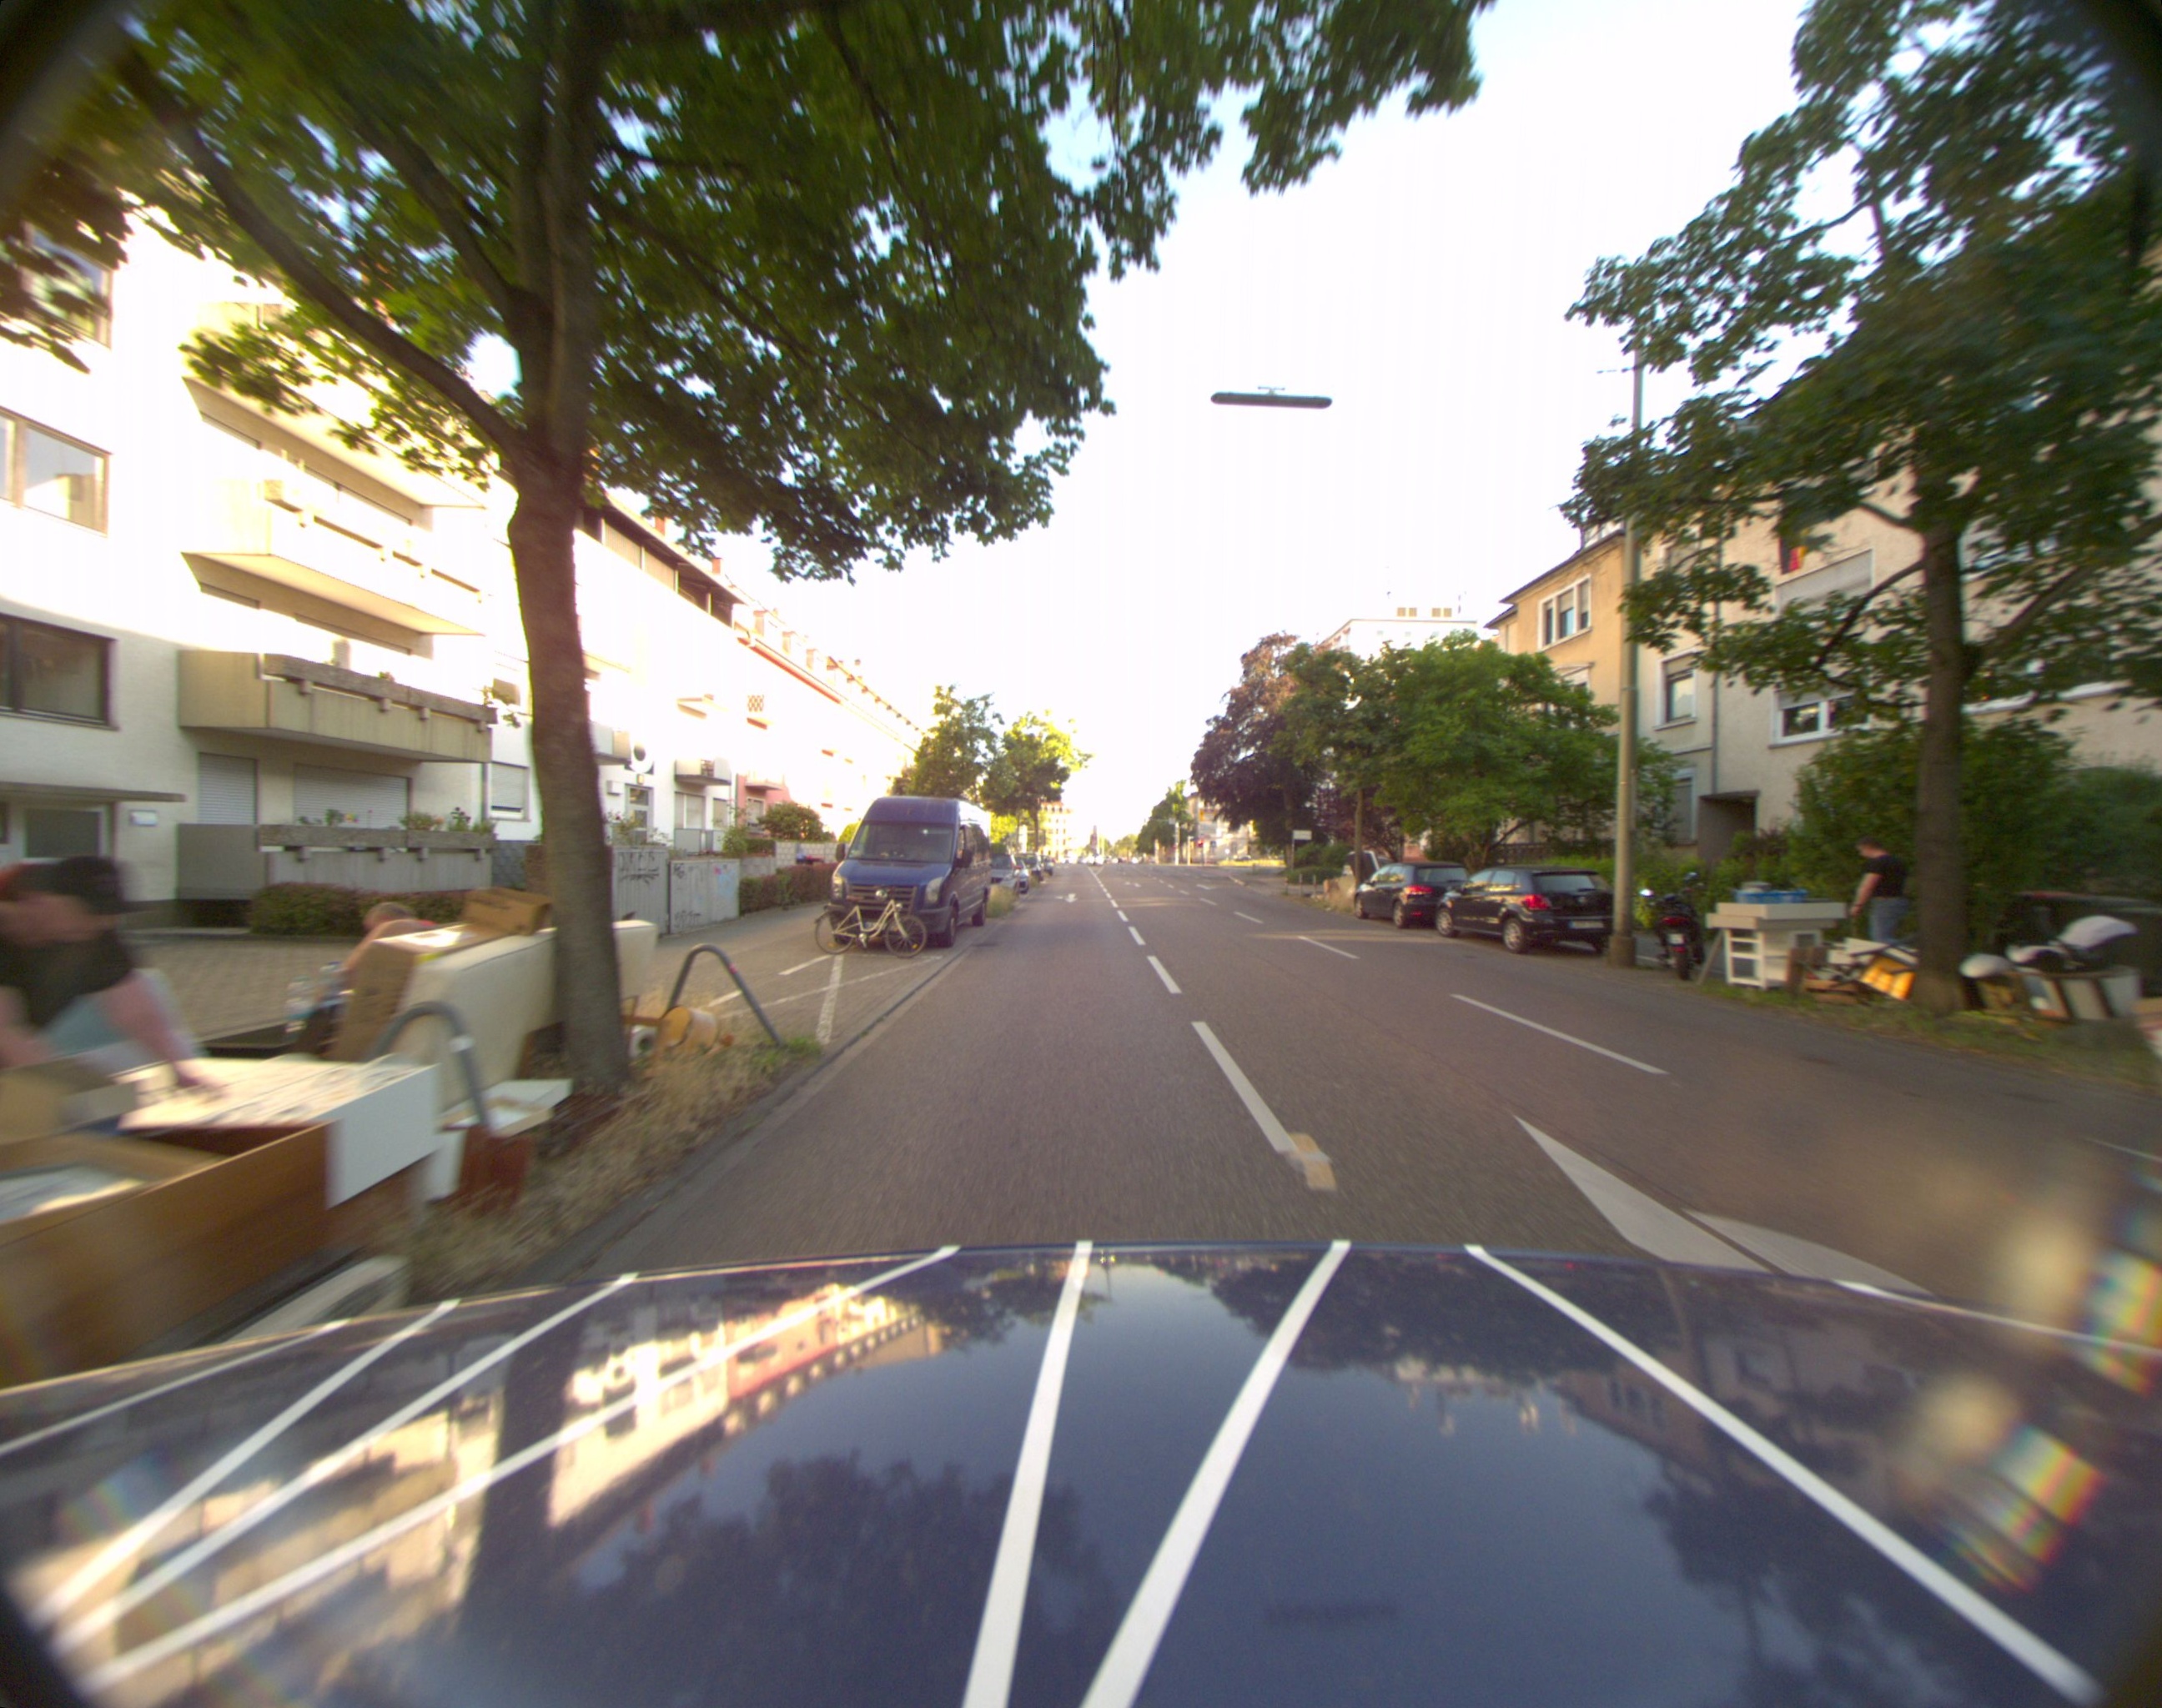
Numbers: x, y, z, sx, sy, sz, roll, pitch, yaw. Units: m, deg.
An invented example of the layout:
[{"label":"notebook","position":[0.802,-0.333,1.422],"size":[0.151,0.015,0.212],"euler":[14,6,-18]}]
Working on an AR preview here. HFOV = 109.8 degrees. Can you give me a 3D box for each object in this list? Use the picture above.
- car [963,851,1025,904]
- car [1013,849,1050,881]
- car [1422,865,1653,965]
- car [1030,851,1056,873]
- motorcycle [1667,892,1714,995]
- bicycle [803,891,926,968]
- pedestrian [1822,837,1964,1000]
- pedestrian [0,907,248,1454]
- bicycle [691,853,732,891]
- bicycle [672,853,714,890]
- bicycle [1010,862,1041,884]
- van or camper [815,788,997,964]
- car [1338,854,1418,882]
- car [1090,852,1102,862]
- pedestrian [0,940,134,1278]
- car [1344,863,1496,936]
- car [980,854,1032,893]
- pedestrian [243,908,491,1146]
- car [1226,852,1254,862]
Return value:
[{"label":"car","position":[-2.904,0.752,25.915],"size":[1.777,1.633,3.756],"euler":[0,1,-2]},{"label":"car","position":[-2.633,0.582,41.222],"size":[1.737,1.641,4.291],"euler":[0,0,0]},{"label":"car","position":[7.908,0.962,13.660],"size":[1.755,1.494,3.978],"euler":[0,0,0]},{"label":"car","position":[-2.729,0.579,55.079],"size":[1.737,1.542,3.646],"euler":[0,0,0]},{"label":"motorcycle","position":[8.032,1.132,10.043],"size":[0.440,1.185,1.711],"euler":[1,0,38]},{"label":"bicycle","position":[-3.187,1.099,11.232],"size":[1.705,1.083,0.404],"euler":[0,0,3]},{"label":"pedestrian","position":[10.443,0.796,9.810],"size":[0.769,2.002,0.976],"euler":[0,0,-1]},{"label":"pedestrian","position":[-3.302,0.913,2.219],"size":[1.066,1.467,0.478],"euler":[0,0,-19]},{"label":"bicycle","position":[-11.097,0.528,22.891],"size":[0.493,1.083,1.544],"euler":[0,0,0]},{"label":"bicycle","position":[-11.699,0.526,22.949],"size":[0.493,1.083,1.544],"euler":[0,0,0]},{"label":"bicycle","position":[-2.733,0.933,37.306],"size":[1.482,1.053,0.411],"euler":[0,0,-13]},{"label":"van or camper","position":[-2.990,0.301,14.543],"size":[2.073,2.660,5.988],"euler":[0,1,0]},{"label":"car","position":[15.615,0.724,40.058],"size":[3.507,1.477,1.815],"euler":[0,0,-4]},{"label":"car","position":[2.295,0.459,114.554],"size":[1.764,1.489,3.708],"euler":[0,0,0]},{"label":"pedestrian","position":[-4.595,1.020,3.105],"size":[0.656,1.247,0.656],"euler":[0,0,-19]},{"label":"car","position":[7.851,0.974,18.073],"size":[1.755,1.494,4.196],"euler":[0,0,0]},{"label":"car","position":[-2.966,0.748,30.953],"size":[1.925,1.477,4.744],"euler":[0,0,-3]},{"label":"pedestrian","position":[-4.163,0.965,4.492],"size":[0.799,1.247,0.700],"euler":[0,0,-2]},{"label":"car","position":[23.734,0.422,113.466],"size":[3.646,1.437,1.999],"euler":[0,0,-4]}]
